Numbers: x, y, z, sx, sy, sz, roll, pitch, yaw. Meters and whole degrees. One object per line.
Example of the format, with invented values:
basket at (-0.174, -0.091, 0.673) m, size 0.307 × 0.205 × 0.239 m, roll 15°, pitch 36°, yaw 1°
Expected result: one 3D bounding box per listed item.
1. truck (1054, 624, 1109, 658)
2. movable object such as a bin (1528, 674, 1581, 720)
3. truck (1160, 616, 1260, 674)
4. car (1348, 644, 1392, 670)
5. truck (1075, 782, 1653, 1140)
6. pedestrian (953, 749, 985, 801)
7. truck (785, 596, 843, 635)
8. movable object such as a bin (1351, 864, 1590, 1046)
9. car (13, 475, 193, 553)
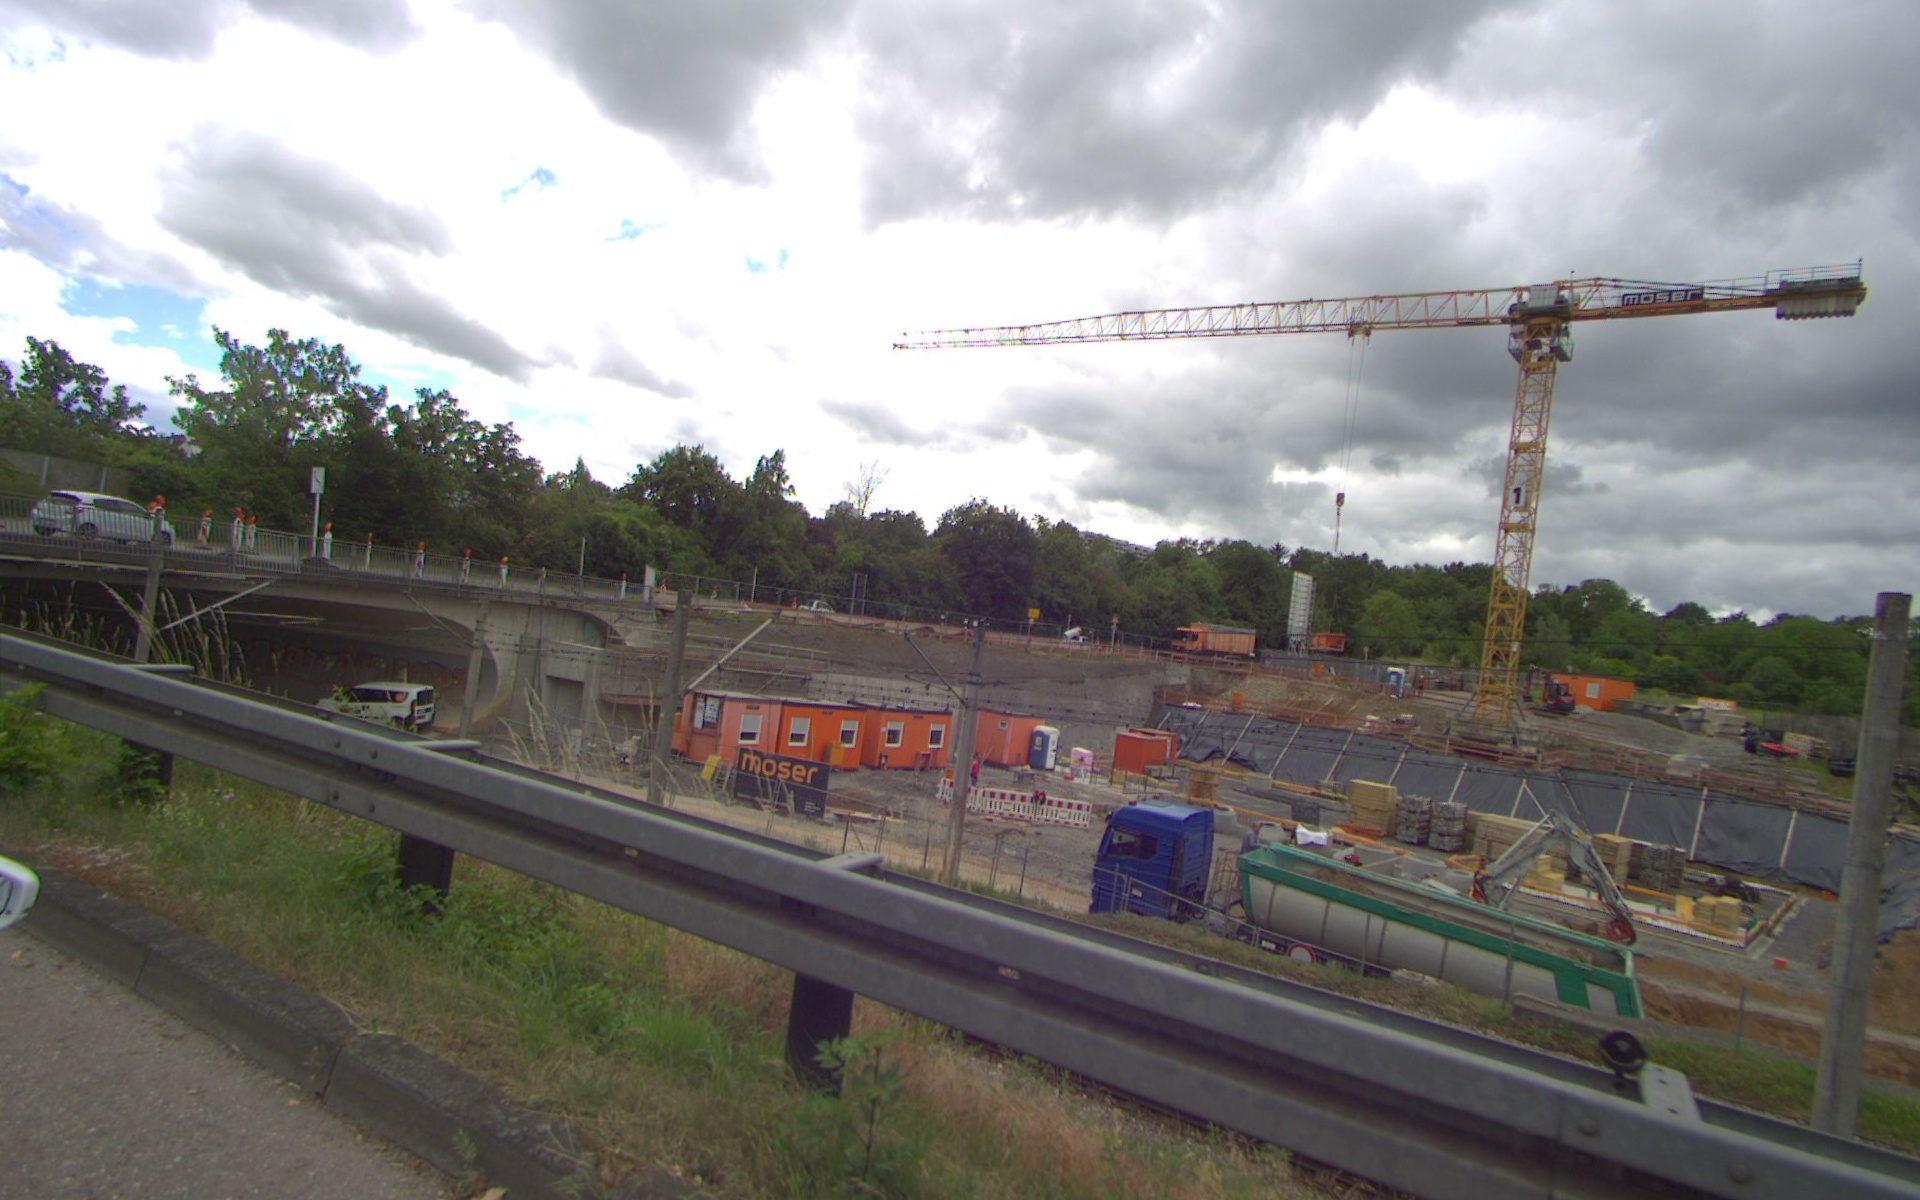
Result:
truck at (9.862, 3.331, 81.769) m, size 3.972 × 2.034 × 1.980 m, roll 12°, pitch -4°, yaw -37°
movable object such as a bin at (45.972, 7.461, 77.822) m, size 1.825 × 3.112 × 2.775 m, roll 8°, pitch -2°, yaw -35°
truck at (23.877, 4.343, 95.691) m, size 9.703 × 4.270 × 3.092 m, roll 9°, pitch -1°, yaw -34°
car at (40.993, 5.660, 100.563) m, size 3.961 × 2.036 × 1.984 m, roll 9°, pitch -3°, yaw -32°
truck at (8.568, 7.441, 22.925) m, size 11.434 × 3.939 × 2.841 m, roll 9°, pitch -1°, yaw 35°
pedestrian at (0.381, 7.336, 42.095) m, size 0.693 × 2.033 × 0.803 m, roll 6°, pitch -5°, yaw 36°
truck at (-9.726, 1.055, 67.205) m, size 3.209 × 2.034 × 1.721 m, roll 12°, pitch -4°, yaw -40°
movable object such as a bin at (12.836, 8.749, 25.472) m, size 3.025 × 2.782 × 4.240 m, roll 9°, pitch 0°, yaw -38°
car at (-26.854, -2.631, 31.711) m, size 1.684 × 1.694 × 4.006 m, roll 7°, pitch -3°, yaw 11°
